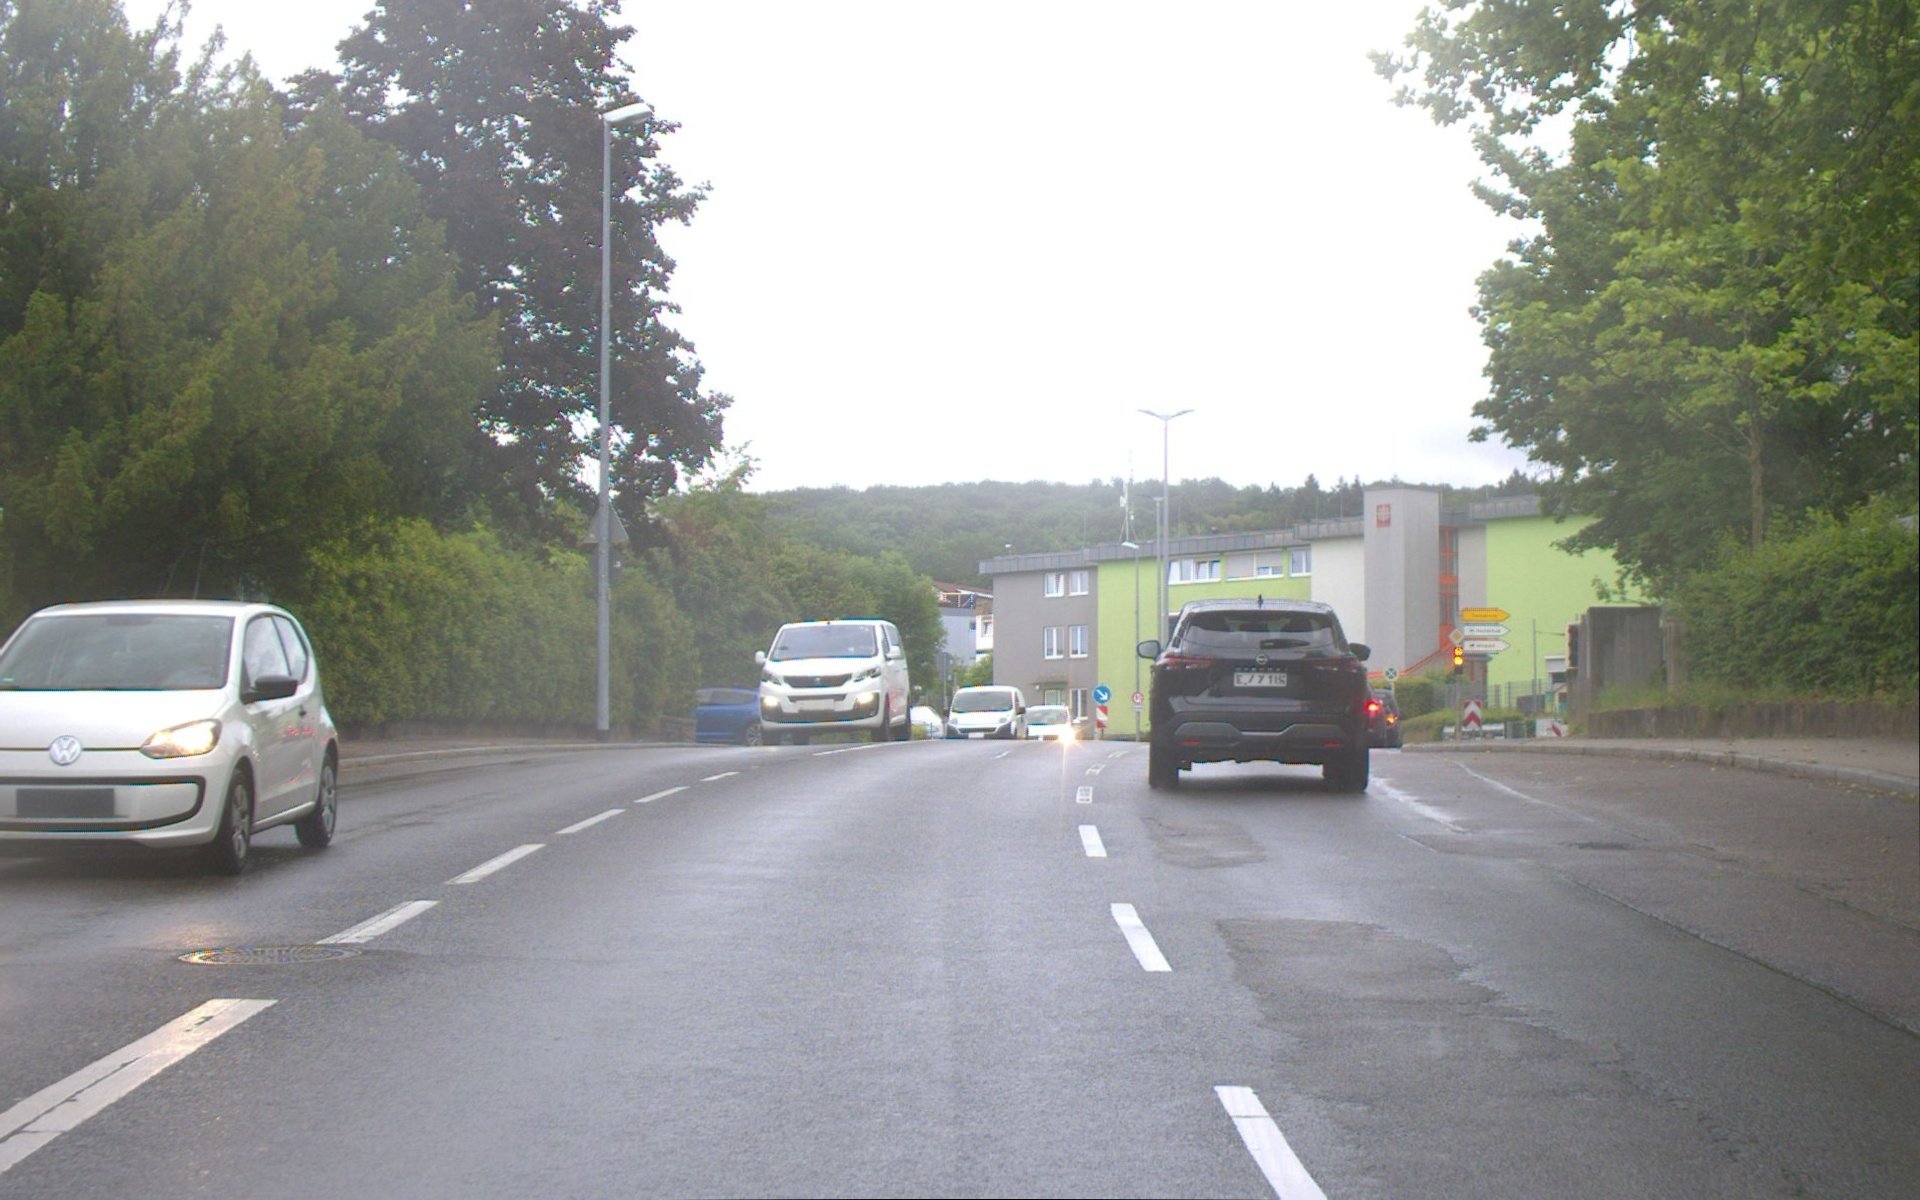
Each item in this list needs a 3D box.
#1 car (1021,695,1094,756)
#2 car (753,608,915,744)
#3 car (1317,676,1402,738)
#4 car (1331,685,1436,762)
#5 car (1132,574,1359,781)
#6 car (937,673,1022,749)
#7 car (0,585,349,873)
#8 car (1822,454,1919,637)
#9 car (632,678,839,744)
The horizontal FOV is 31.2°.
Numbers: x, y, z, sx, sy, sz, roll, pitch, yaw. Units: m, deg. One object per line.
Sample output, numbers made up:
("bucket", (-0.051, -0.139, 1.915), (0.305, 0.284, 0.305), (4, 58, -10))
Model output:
("car", (2.723, 3.480, 95.151), (1.635, 1.574, 4.056), (-3, -3, 6))
("car", (-1.874, 1.129, 52.644), (1.863, 1.910, 5.028), (-2, -1, 4))
("car", (10.225, 2.712, 87.774), (1.994, 1.437, 3.998), (1, -1, 9))
("car", (8.736, 2.522, 70.696), (1.994, 1.437, 3.998), (1, -1, 9))
("car", (2.505, 0.611, 29.927), (1.790, 1.598, 4.252), (1, 1, 5))
("car", (0.505, 2.707, 83.392), (1.701, 1.702, 3.977), (3, -2, 5))
("car", (-4.551, 0.650, 19.187), (1.685, 1.449, 3.398), (0, 0, 0))
("car", (12.515, -0.691, 43.306), (1.993, 2.219, 4.134), (1, 1, -4))
("car", (-5.058, 2.503, 77.766), (4.482, 1.357, 1.805), (2, -1, 2))
